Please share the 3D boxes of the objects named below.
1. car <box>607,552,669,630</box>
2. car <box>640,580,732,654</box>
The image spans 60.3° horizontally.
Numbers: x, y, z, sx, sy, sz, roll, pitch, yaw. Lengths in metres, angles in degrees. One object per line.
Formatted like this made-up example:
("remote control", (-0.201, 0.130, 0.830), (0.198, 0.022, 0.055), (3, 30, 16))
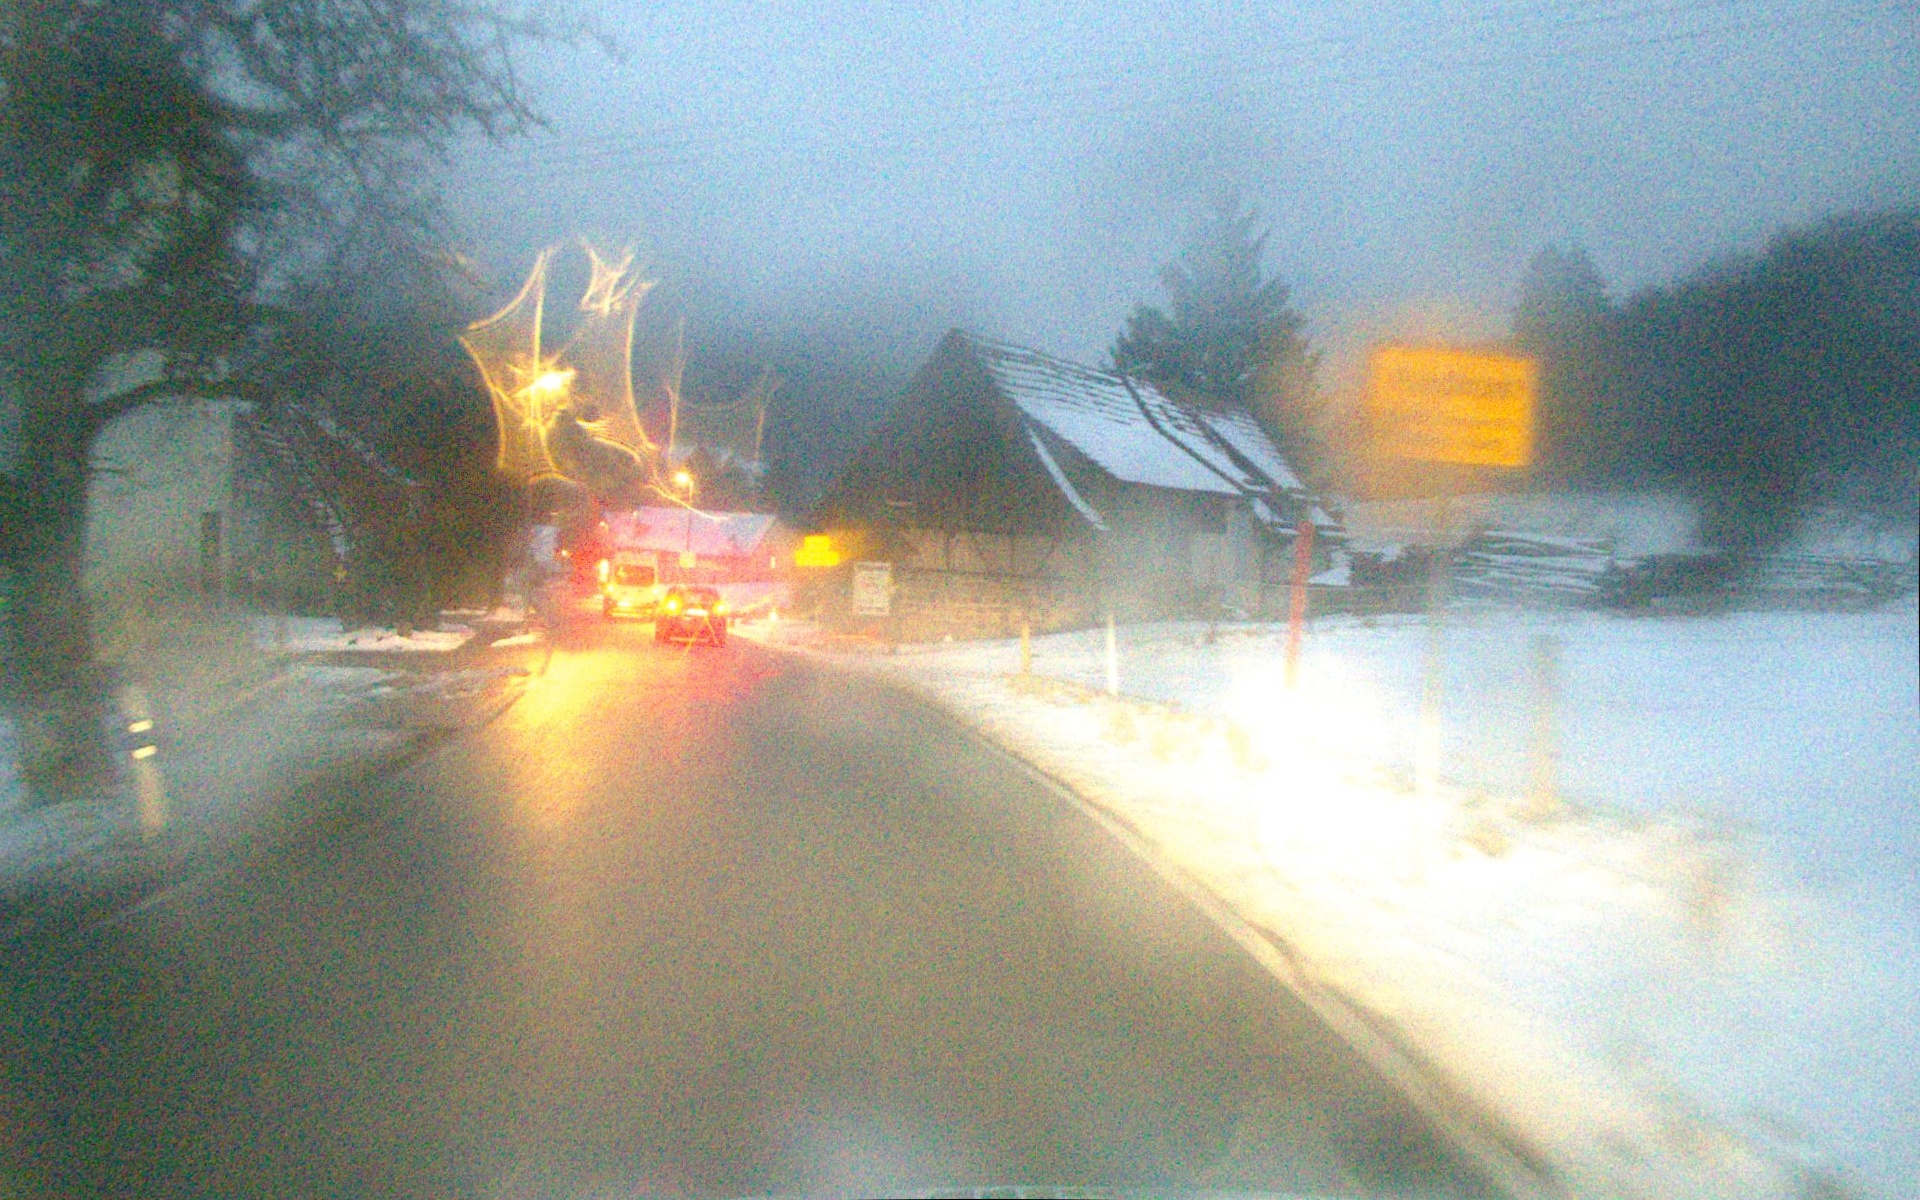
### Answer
("car", (-13.264, -0.317, 68.123), (2.392, 3.072, 5.309), (1, -1, -11))
("car", (-7.521, 0.409, 45.039), (2.234, 1.873, 4.992), (0, 1, -12))
